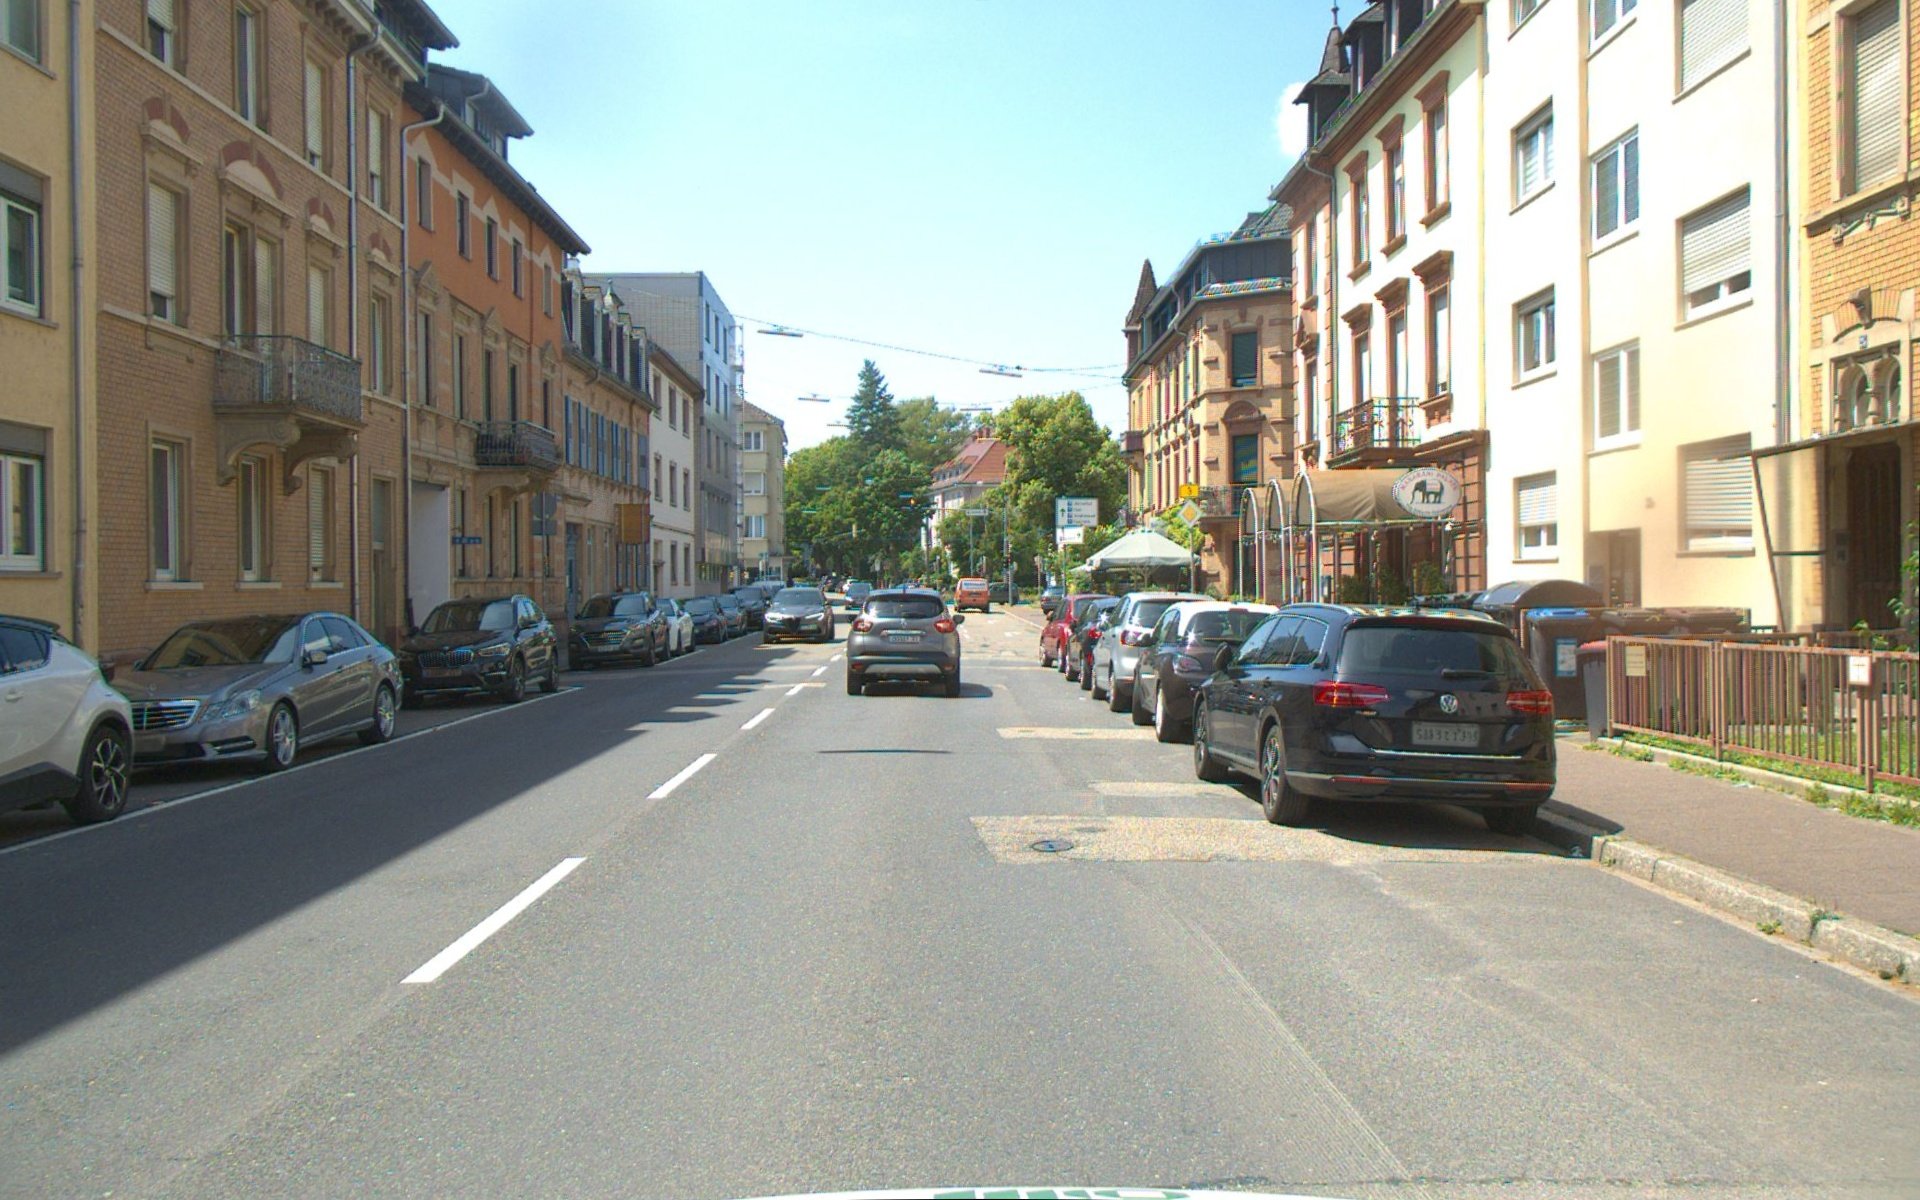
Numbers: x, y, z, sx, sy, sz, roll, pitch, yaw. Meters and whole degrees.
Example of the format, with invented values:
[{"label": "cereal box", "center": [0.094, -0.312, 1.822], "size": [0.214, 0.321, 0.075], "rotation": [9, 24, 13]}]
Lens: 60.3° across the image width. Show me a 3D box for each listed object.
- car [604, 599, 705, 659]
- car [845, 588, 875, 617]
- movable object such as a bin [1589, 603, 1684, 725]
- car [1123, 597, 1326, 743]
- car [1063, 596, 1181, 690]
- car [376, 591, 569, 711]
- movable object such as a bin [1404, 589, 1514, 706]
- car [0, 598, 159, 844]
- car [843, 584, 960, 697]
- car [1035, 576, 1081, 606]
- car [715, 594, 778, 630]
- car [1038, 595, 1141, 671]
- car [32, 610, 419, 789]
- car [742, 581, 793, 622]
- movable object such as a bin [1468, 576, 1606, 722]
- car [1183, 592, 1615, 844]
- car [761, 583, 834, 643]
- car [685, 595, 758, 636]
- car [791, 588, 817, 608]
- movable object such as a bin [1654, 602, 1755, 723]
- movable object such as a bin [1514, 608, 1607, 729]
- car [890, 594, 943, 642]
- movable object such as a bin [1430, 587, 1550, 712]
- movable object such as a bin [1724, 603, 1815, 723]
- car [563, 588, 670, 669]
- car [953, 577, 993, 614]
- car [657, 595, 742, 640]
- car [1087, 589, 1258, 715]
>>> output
[{"label": "car", "center": [-7.937, 0.721, 43.325], "size": [1.866, 1.381, 4.301], "rotation": [-3, 0, -1]}, {"label": "car", "center": [-5.857, 0.144, 96.965], "size": [1.755, 1.654, 3.741], "rotation": [0, 0, -3]}, {"label": "movable object such as a bin", "center": [6.928, 0.641, 16.965], "size": [0.625, 1.207, 0.852], "rotation": [1, 0, 1]}, {"label": "car", "center": [2.917, 0.720, 19.022], "size": [1.626, 1.466, 3.999], "rotation": [1, 0, -1]}, {"label": "car", "center": [2.677, 0.676, 27.965], "size": [1.579, 1.487, 3.504], "rotation": [0, 0, -1]}, {"label": "car", "center": [-7.560, 0.729, 26.065], "size": [1.867, 1.648, 4.300], "rotation": [-3, 0, -3]}, {"label": "movable object such as a bin", "center": [6.294, 0.576, 20.931], "size": [1.021, 1.426, 1.254], "rotation": [1, 0, 0]}, {"label": "car", "center": [-6.973, 0.805, 10.366], "size": [1.866, 1.536, 4.300], "rotation": [-3, 0, -2]}, {"label": "car", "center": [-0.928, 0.583, 26.211], "size": [1.709, 1.644, 3.998], "rotation": [0, 0, -2]}, {"label": "car", "center": [5.228, -0.486, 88.136], "size": [1.857, 1.534, 3.946], "rotation": [-1, 0, 12]}, {"label": "car", "center": [-8.170, 0.436, 63.544], "size": [1.866, 1.314, 4.302], "rotation": [-1, 0, -1]}, {"label": "car", "center": [2.593, 0.637, 33.673], "size": [1.580, 1.468, 3.434], "rotation": [0, 0, -4]}, {"label": "car", "center": [-7.157, 0.873, 16.754], "size": [1.866, 1.425, 4.753], "rotation": [-3, 0, -2]}, {"label": "car", "center": [-9.015, 0.067, 77.711], "size": [1.866, 1.853, 4.302], "rotation": [-1, 0, -1]}, {"label": "movable object such as a bin", "center": [6.358, 0.517, 18.304], "size": [1.021, 1.544, 1.446], "rotation": [1, 0, 0]}, {"label": "car", "center": [2.987, 0.708, 12.356], "size": [1.823, 1.490, 4.616], "rotation": [1, 0, -2]}, {"label": "car", "center": [-4.846, 0.357, 49.894], "size": [1.900, 1.654, 3.998], "rotation": [-2, 0, -2]}, {"label": "car", "center": [-8.156, 0.498, 56.843], "size": [1.865, 1.314, 4.302], "rotation": [-1, 0, 0]}, {"label": "car", "center": [-13.044, -0.201, 138.589], "size": [1.754, 1.654, 3.743], "rotation": [0, 0, 0]}, {"label": "movable object such as a bin", "center": [7.627, 0.627, 16.976], "size": [0.654, 1.197, 0.852], "rotation": [1, 0, 1]}, {"label": "movable object such as a bin", "center": [6.150, 0.686, 16.966], "size": [0.625, 1.197, 0.911], "rotation": [1, 0, 1]}, {"label": "car", "center": [-1.680, 0.650, 62.123], "size": [1.776, 1.649, 4.438], "rotation": [-2, 0, -4]}, {"label": "movable object such as a bin", "center": [6.286, 0.571, 19.674], "size": [1.021, 1.426, 1.254], "rotation": [1, 0, 0]}, {"label": "movable object such as a bin", "center": [8.314, 0.637, 17.008], "size": [0.625, 1.197, 0.626], "rotation": [1, 0, 1]}, {"label": "car", "center": [-7.743, 0.612, 37.669], "size": [1.868, 1.648, 4.297], "rotation": [-3, 0, -6]}, {"label": "car", "center": [0.726, -0.268, 94.476], "size": [1.954, 2.049, 4.463], "rotation": [-1, 0, -3]}, {"label": "car", "center": [-8.027, 0.511, 51.319], "size": [1.865, 1.314, 4.303], "rotation": [-1, 0, 1]}, {"label": "car", "center": [2.894, 0.657, 23.341], "size": [1.822, 1.580, 3.999], "rotation": [1, 0, -1]}]
